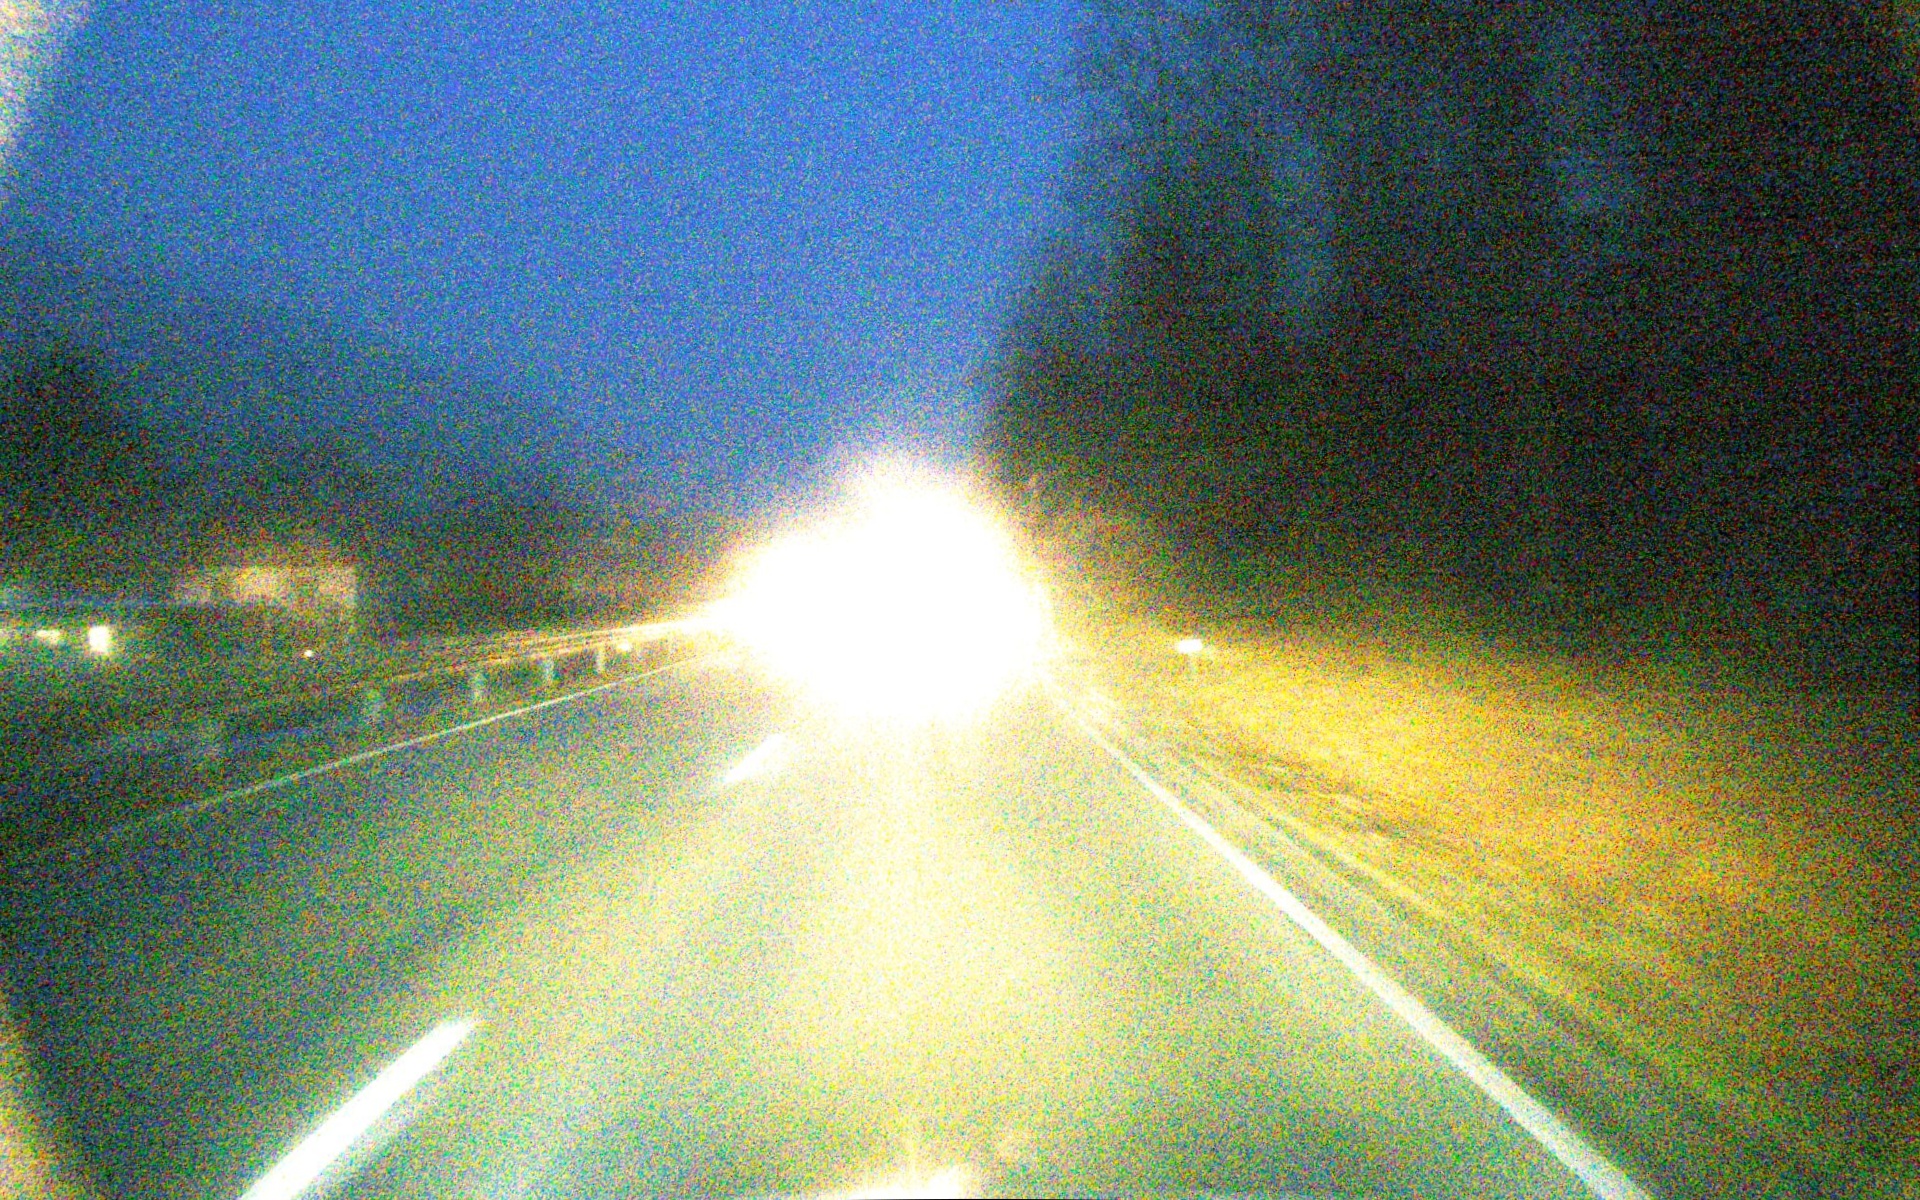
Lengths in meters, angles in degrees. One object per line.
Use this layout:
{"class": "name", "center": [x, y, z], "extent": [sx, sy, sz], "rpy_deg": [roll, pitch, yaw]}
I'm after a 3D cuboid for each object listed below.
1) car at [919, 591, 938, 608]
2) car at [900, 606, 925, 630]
{"class": "car", "center": [-3.243, -0.034, 170.499], "extent": [1.953, 1.695, 3.999], "rpy_deg": [0, 0, -1]}
{"class": "car", "center": [-3.916, 1.444, 136.206], "extent": [1.953, 1.856, 4.562], "rpy_deg": [2, 0, -1]}
